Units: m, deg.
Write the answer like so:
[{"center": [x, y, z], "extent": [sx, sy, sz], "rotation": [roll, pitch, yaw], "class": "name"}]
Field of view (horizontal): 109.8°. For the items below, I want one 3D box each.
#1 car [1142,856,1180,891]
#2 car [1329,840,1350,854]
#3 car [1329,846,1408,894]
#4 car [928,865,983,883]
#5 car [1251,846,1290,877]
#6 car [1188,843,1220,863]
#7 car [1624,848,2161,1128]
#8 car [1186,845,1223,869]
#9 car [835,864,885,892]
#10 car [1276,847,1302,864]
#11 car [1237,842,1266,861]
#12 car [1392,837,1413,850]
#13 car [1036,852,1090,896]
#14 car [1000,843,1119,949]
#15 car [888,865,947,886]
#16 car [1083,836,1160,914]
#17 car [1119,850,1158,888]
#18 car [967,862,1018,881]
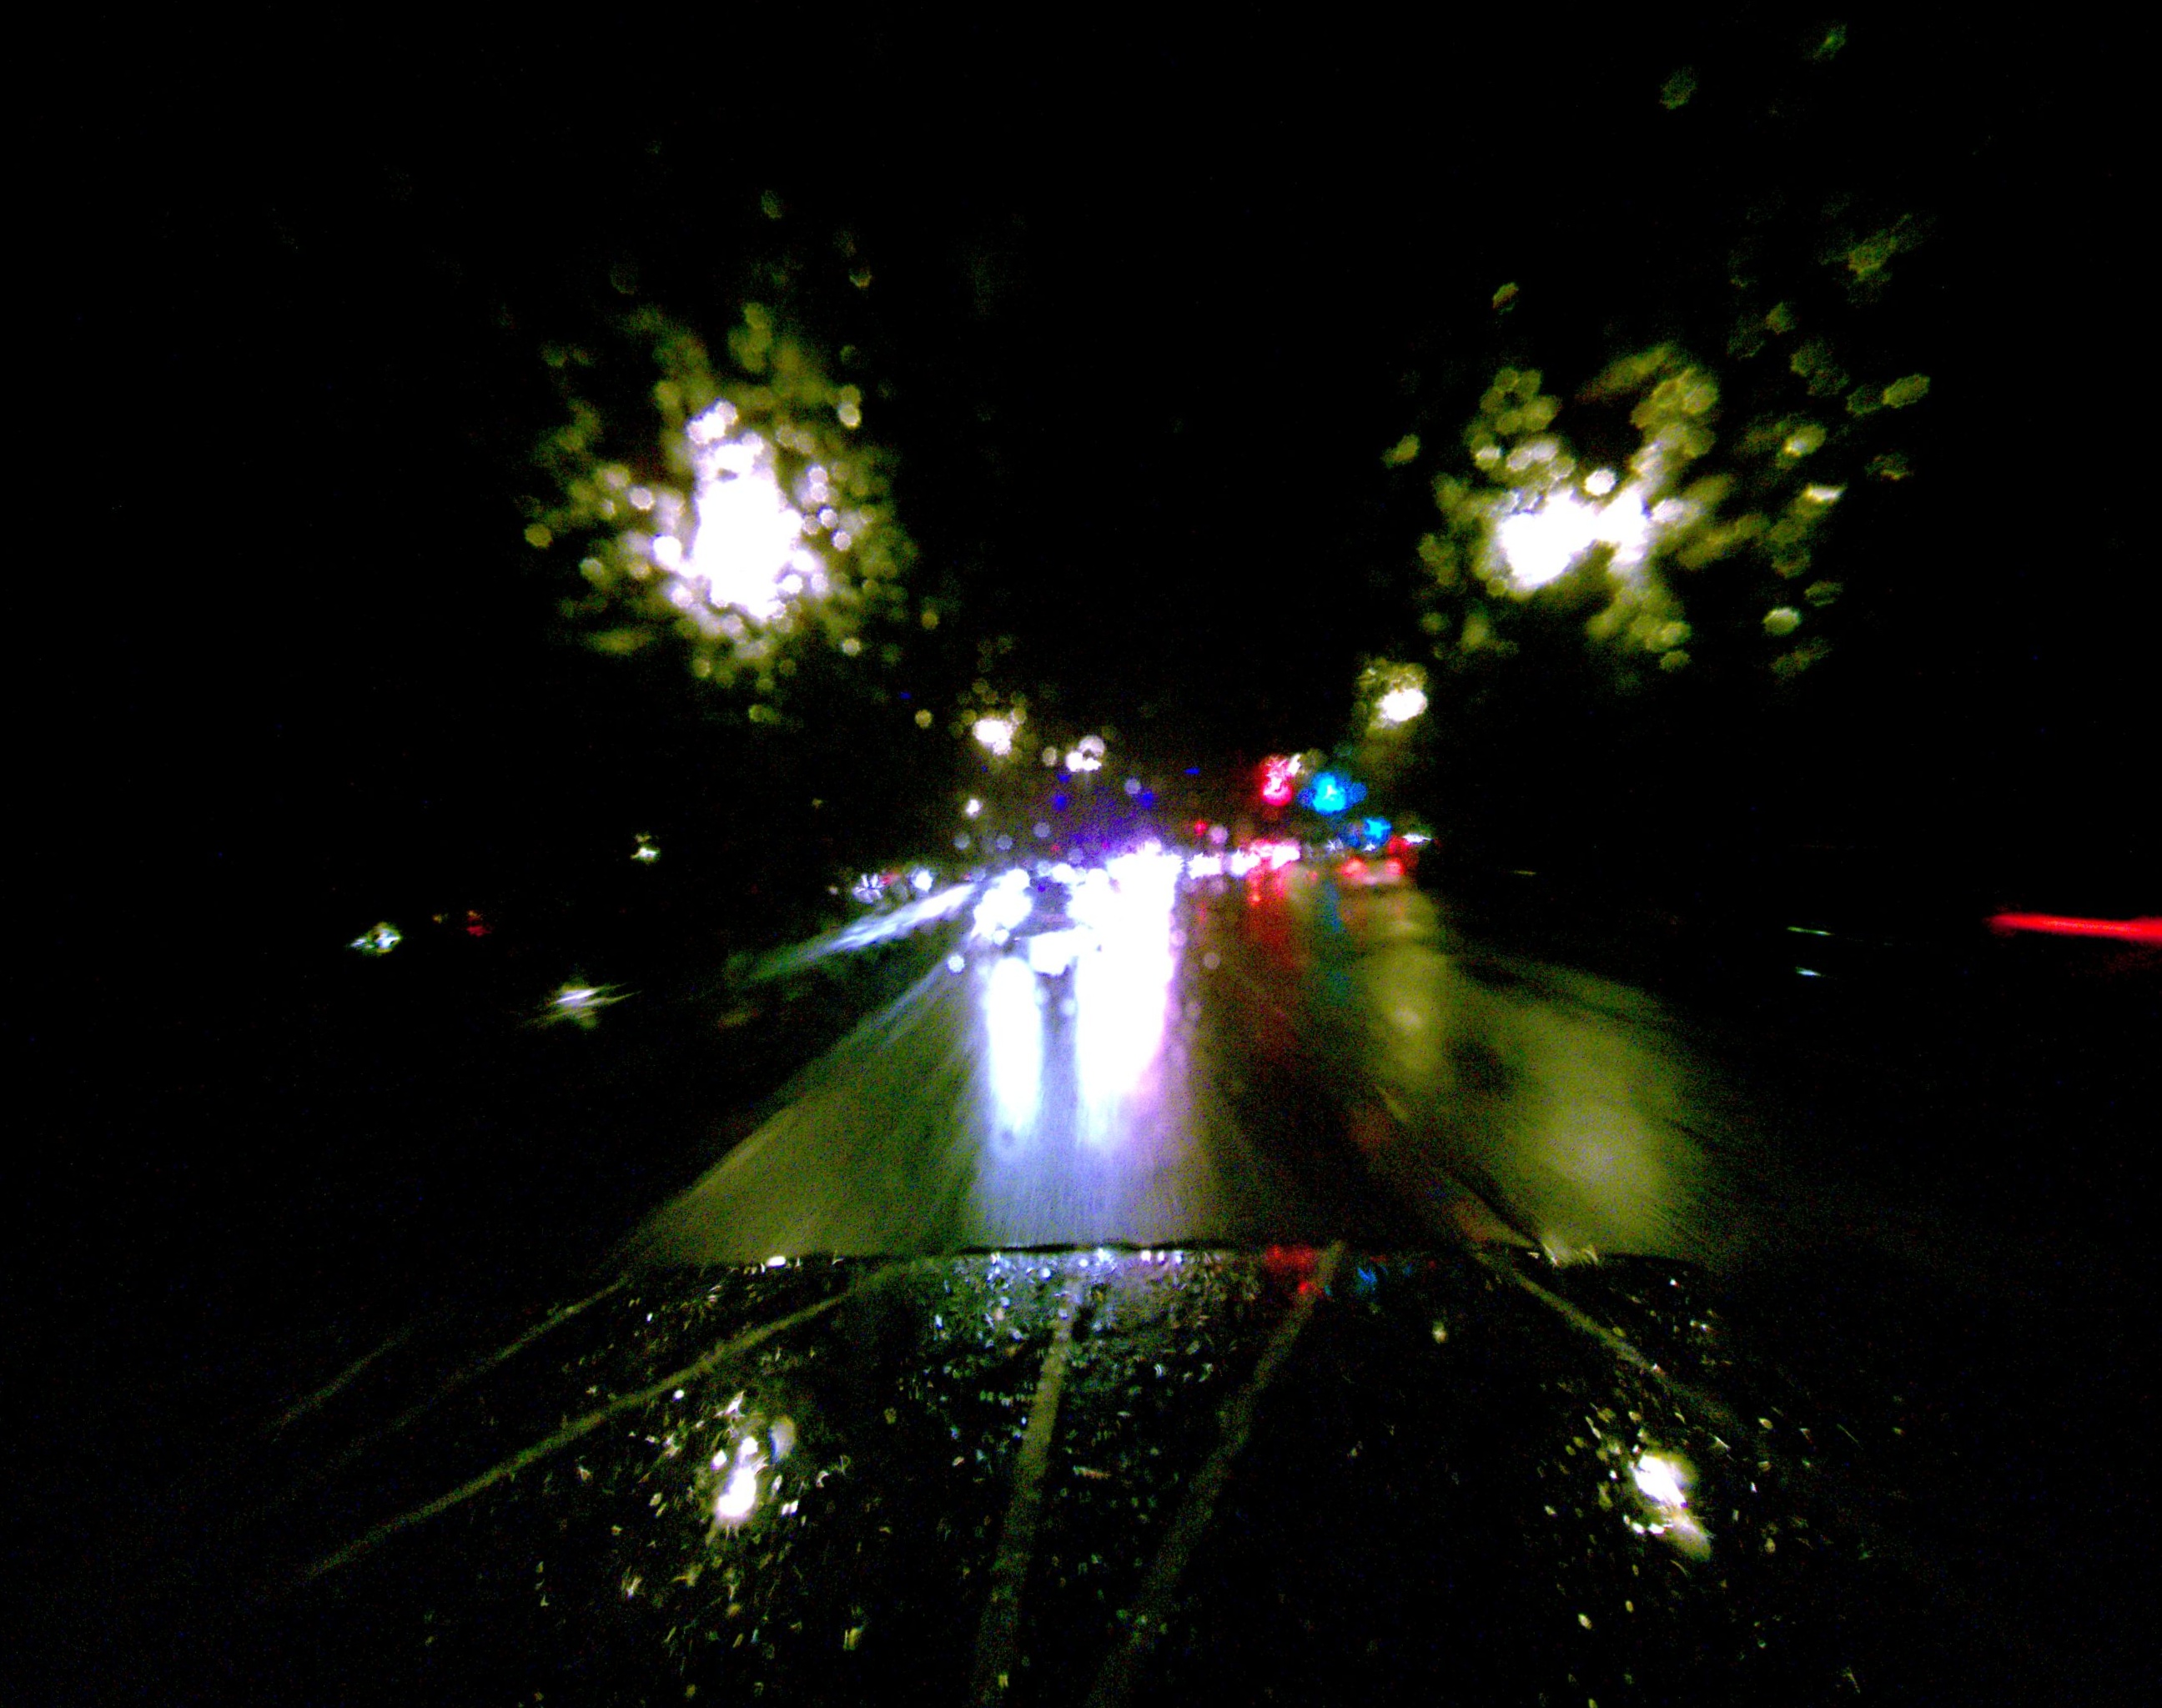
[{"center": [6.003, 1.421, 56.547], "extent": [1.997, 2.003, 4.001], "rotation": [-8, 3, 15], "class": "car"}, {"center": [39.807, -1.088, 116.938], "extent": [1.865, 2.001, 4.008], "rotation": [-3, -1, 36], "class": "car"}, {"center": [9.951, 0.506, 26.556], "extent": [1.770, 1.508, 3.951], "rotation": [-2, 0, 9], "class": "car"}, {"center": [-10.893, 1.734, 65.959], "extent": [4.533, 1.400, 2.004], "rotation": [-2, 0, 33], "class": "car"}, {"center": [11.264, 0.396, 45.005], "extent": [2.002, 1.665, 4.622], "rotation": [-3, 0, 16], "class": "car"}, {"center": [13.110, -0.148, 80.883], "extent": [1.865, 2.001, 4.008], "rotation": [-3, -1, 32], "class": "car"}, {"center": [6.547, 0.682, 5.978], "extent": [1.770, 1.419, 4.220], "rotation": [-1, 1, 4], "class": "car"}, {"center": [11.554, 0.271, 70.831], "extent": [1.995, 2.001, 4.007], "rotation": [-3, -1, 31], "class": "car"}, {"center": [-19.577, 2.124, 67.299], "extent": [3.991, 2.003, 1.766], "rotation": [-7, 3, 34], "class": "car"}, {"center": [25.645, 0.167, 93.603], "extent": [1.865, 2.001, 4.008], "rotation": [-3, -1, 35], "class": "car"}, {"center": [18.604, -0.282, 82.834], "extent": [1.866, 2.001, 4.007], "rotation": [-3, -1, 30], "class": "car"}, {"center": [42.869, -1.344, 101.305], "extent": [1.987, 1.595, 4.842], "rotation": [-1, 0, 29], "class": "car"}, {"center": [-0.708, 0.802, 32.470], "extent": [2.046, 1.611, 4.287], "rotation": [-3, 1, 0], "class": "car"}, {"center": [-0.387, 0.683, 14.591], "extent": [1.928, 1.704, 4.238], "rotation": [-1, 0, -1], "class": "car"}, {"center": [-13.787, 1.816, 63.885], "extent": [4.769, 1.630, 2.004], "rotation": [-2, 0, 33], "class": "car"}, {"center": [1.214, 0.534, 22.455], "extent": [1.998, 2.002, 4.000], "rotation": [-2, 1, 3], "class": "car"}, {"center": [3.030, 0.736, 39.620], "extent": [1.305, 1.519, 3.048], "rotation": [-19, -2, 9], "class": "car"}, {"center": [-8.055, 1.583, 69.220], "extent": [4.107, 1.630, 2.004], "rotation": [-2, 0, 30], "class": "car"}]
